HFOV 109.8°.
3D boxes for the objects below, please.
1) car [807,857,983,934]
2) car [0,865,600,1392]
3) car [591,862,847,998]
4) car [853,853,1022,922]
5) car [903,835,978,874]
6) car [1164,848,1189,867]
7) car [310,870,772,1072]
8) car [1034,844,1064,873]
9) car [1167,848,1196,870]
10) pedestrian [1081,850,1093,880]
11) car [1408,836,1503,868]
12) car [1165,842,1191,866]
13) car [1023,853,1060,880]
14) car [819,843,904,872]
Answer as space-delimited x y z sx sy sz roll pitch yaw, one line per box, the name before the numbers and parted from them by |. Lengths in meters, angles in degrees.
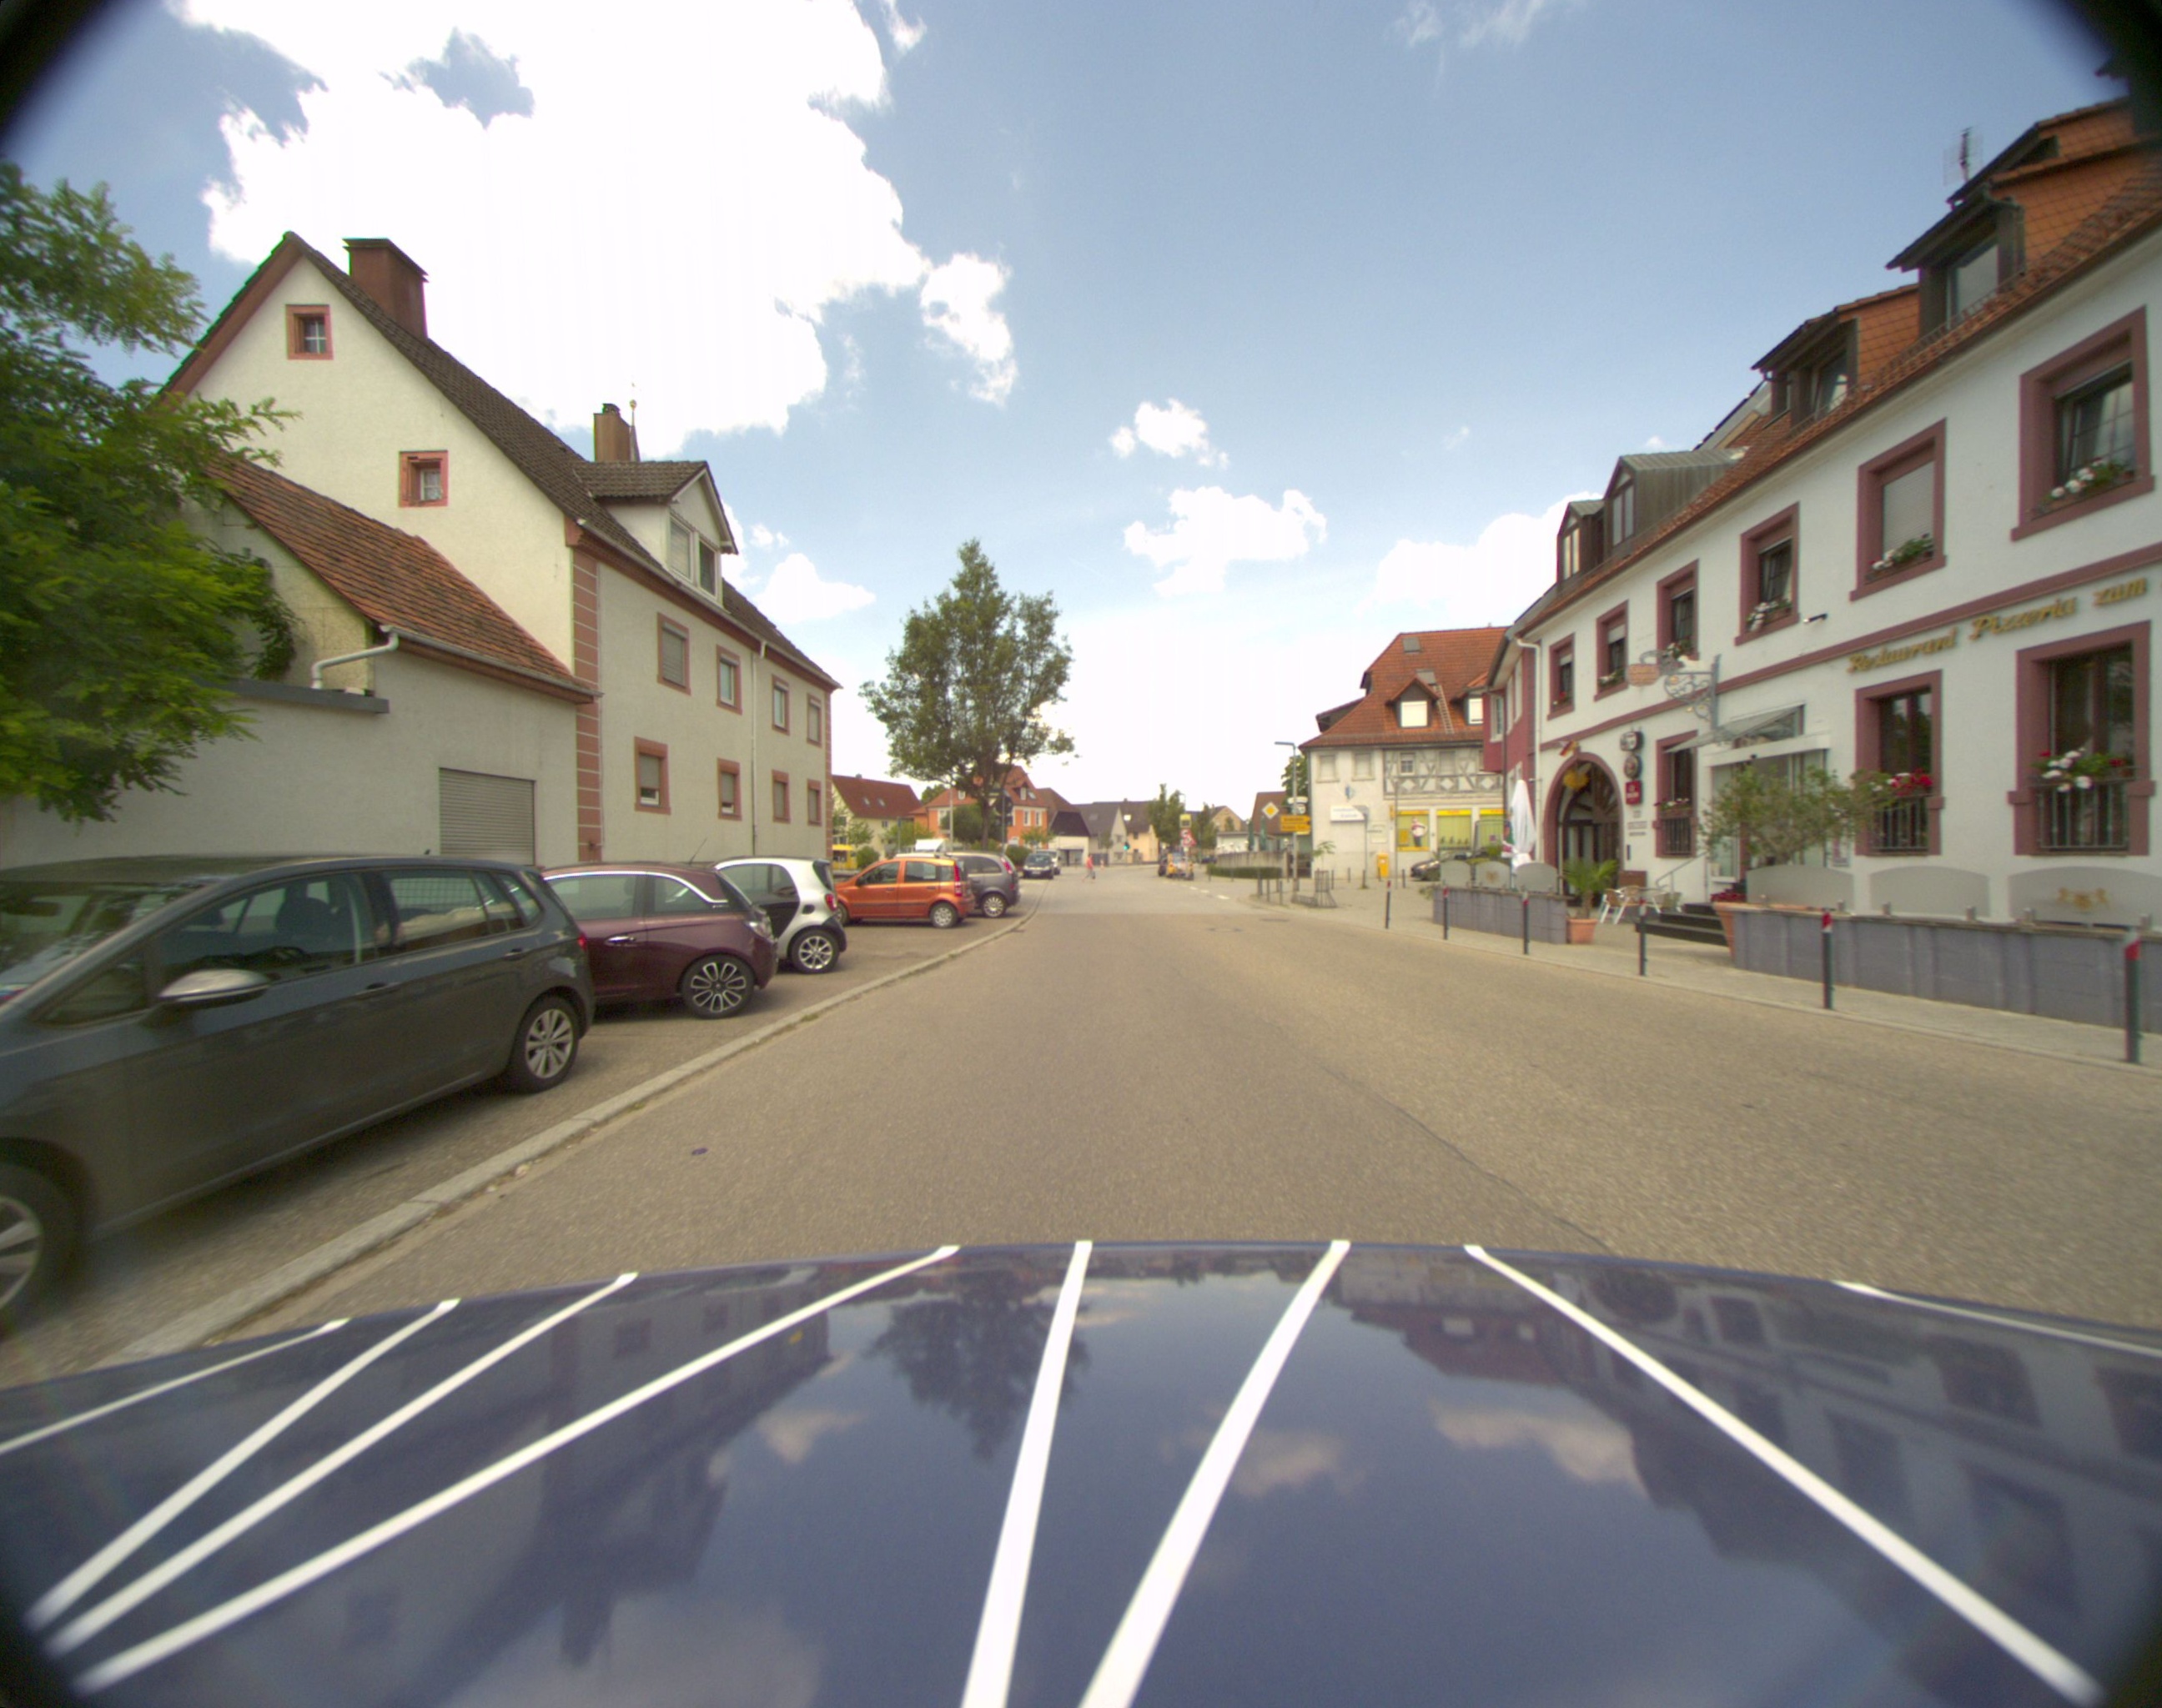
car | -3.965 0.853 16.575 3.385 1.568 1.726 0 1 1
car | -4.270 0.904 3.261 1.666 1.615 4.271 -1 0 0
car | -4.654 0.882 10.096 2.791 1.496 1.874 -1 1 -22
car | -3.449 0.792 18.850 3.859 1.568 1.850 1 1 -2
car | -11.233 -0.026 61.494 2.755 2.946 7.122 0 1 19
car | 7.388 0.252 58.875 1.819 1.415 4.539 -1 0 7
car | -4.765 0.930 7.284 3.241 1.496 1.823 1 0 -25
car | -2.456 0.333 59.448 1.947 2.165 5.101 1 1 2
car | 6.881 0.309 52.293 1.672 1.466 3.964 -1 0 4
pedestrian | 0.340 0.621 41.782 0.640 1.619 0.620 -1 1 4
car | 18.592 -0.104 37.872 3.947 1.509 1.775 -1 1 12
car | 8.486 0.019 66.318 1.990 1.979 5.048 -1 0 10
car | -2.395 0.726 46.949 1.773 1.555 4.419 2 1 3
car | -19.847 0.298 68.933 6.979 2.463 2.646 -1 1 -42
